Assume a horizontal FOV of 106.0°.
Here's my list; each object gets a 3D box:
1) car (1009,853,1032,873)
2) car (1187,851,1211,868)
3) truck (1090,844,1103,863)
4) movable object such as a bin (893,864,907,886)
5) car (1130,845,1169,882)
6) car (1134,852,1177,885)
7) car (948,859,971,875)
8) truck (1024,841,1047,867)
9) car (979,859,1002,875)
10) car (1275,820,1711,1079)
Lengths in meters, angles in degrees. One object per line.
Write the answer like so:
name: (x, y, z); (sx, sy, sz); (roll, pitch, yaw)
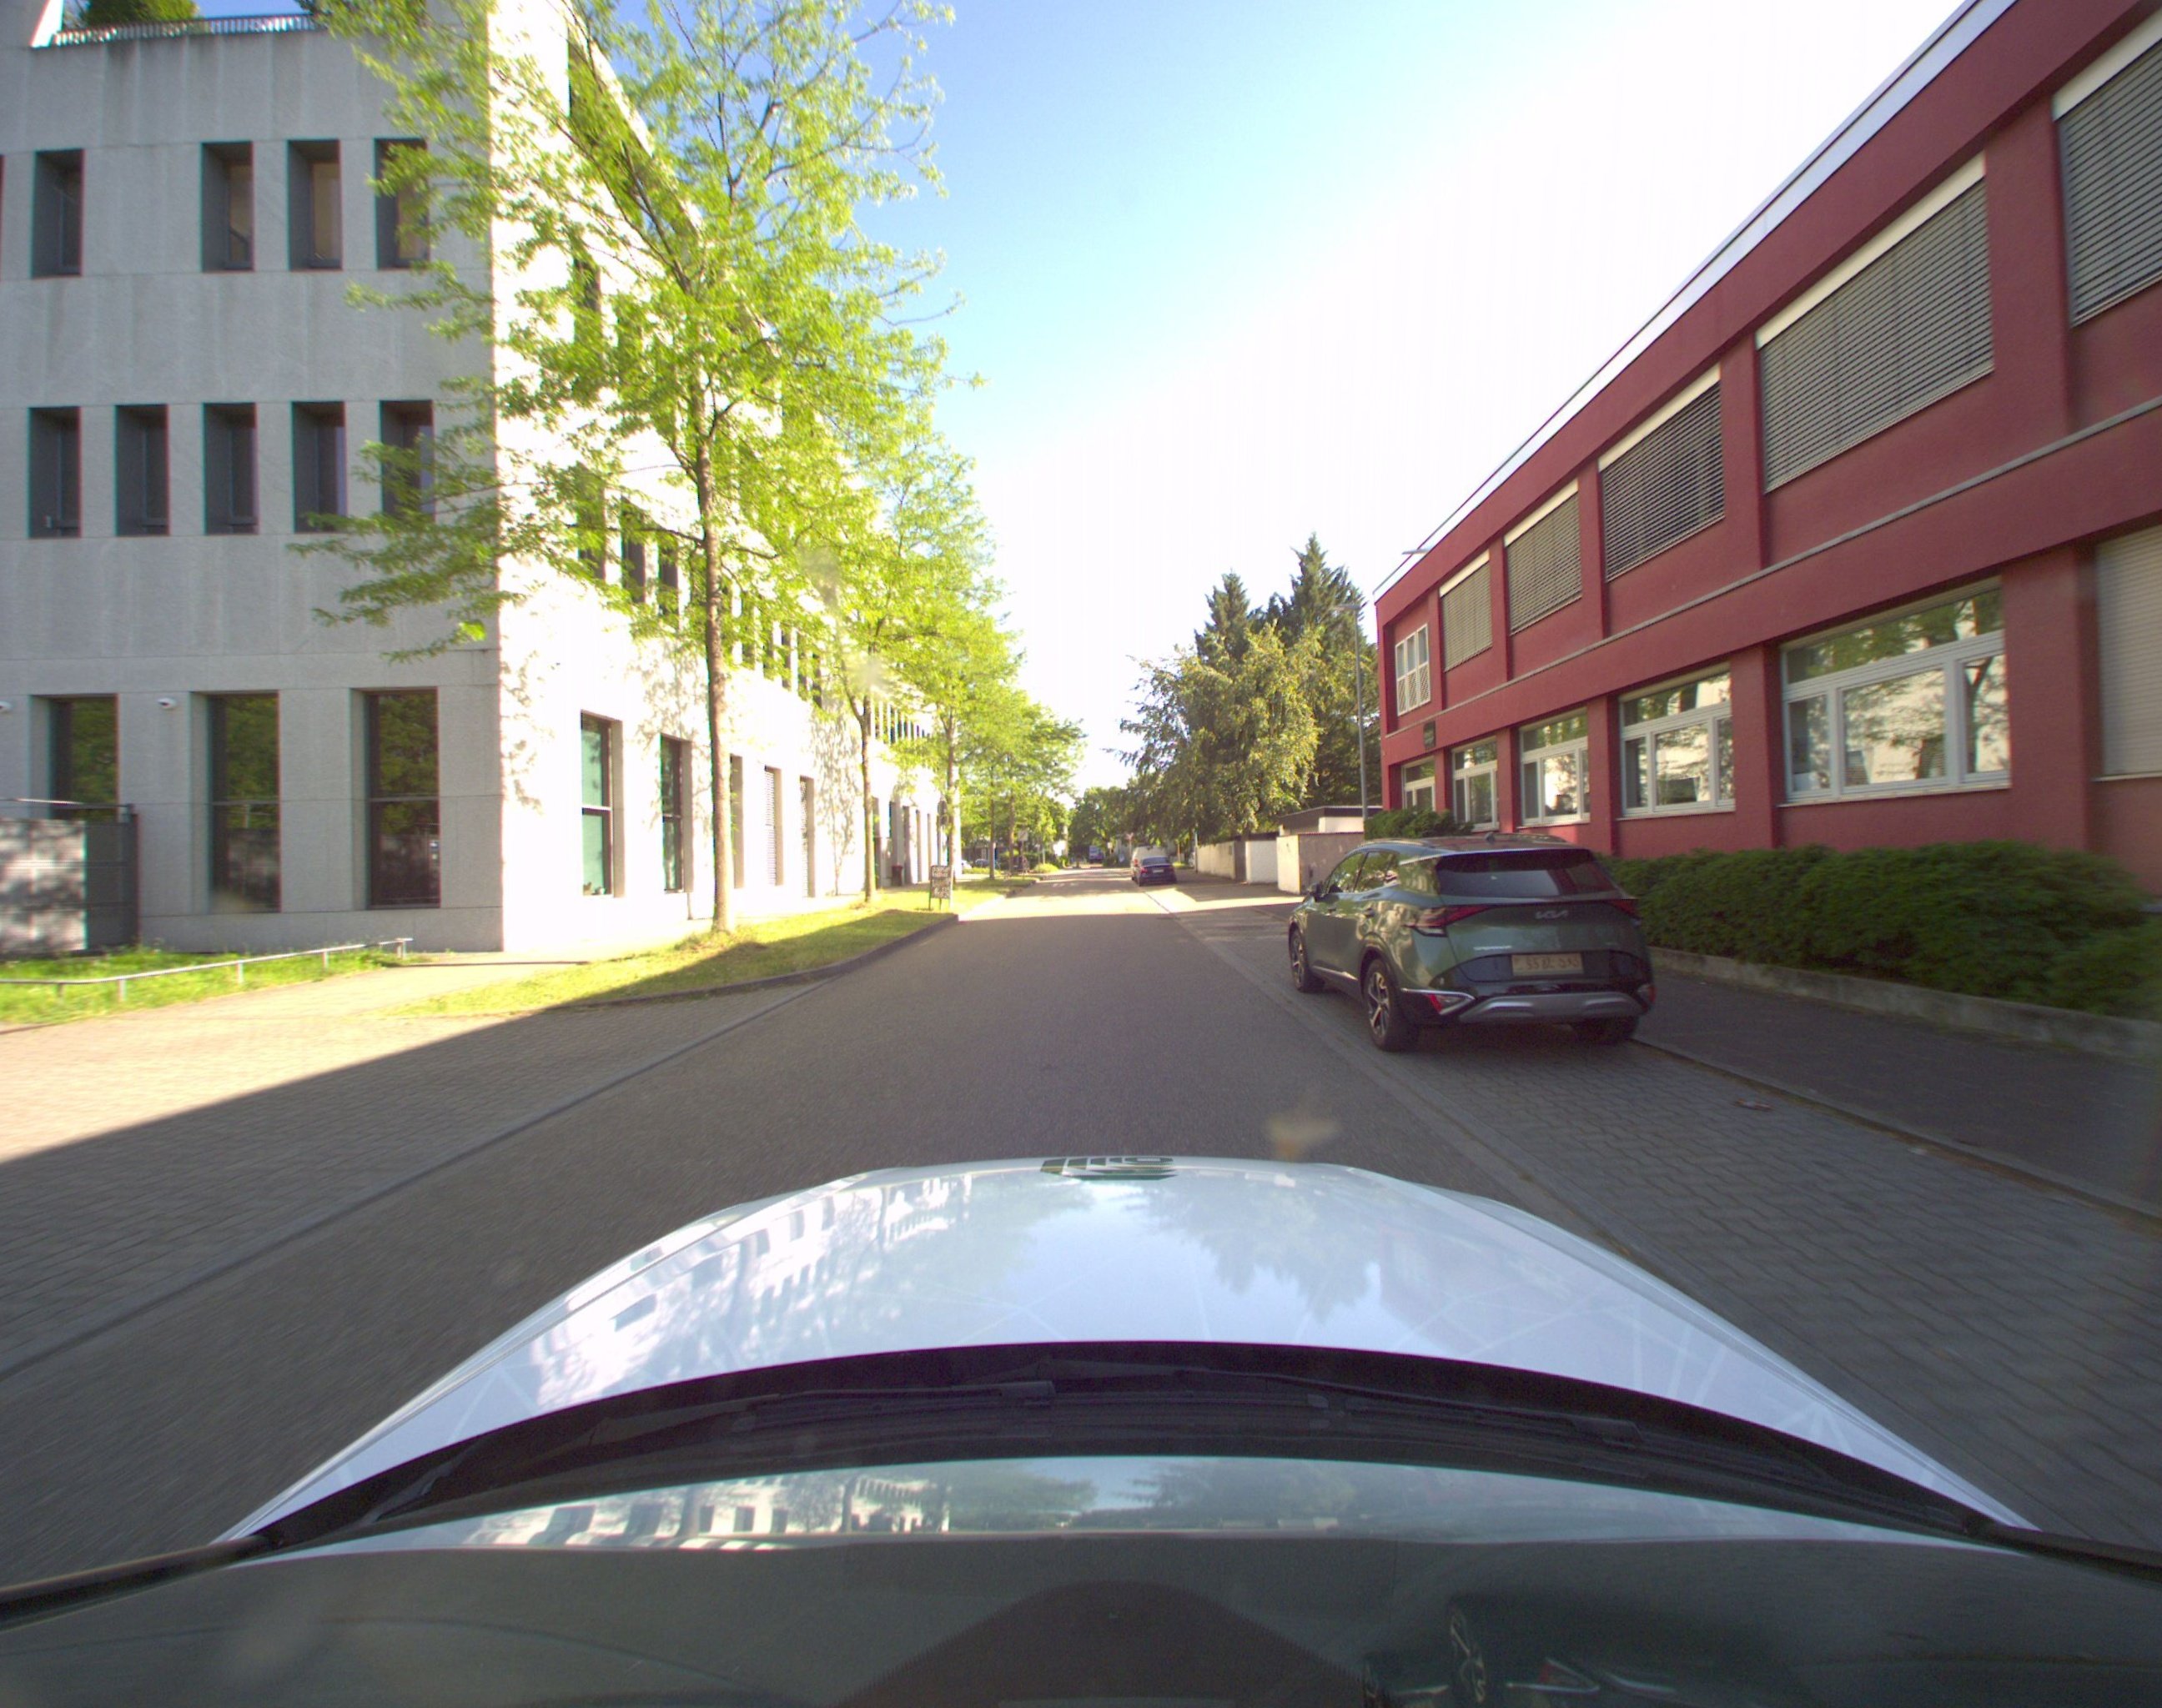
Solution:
car: (-6.138, 0.935, 82.507); (1.867, 1.846, 4.169); (-2, 1, 1)
car: (11.993, 0.524, 82.927); (1.818, 1.598, 4.167); (-2, 1, -1)
truck: (3.386, -0.115, 177.160); (2.750, 3.869, 9.332); (0, 0, 1)
movable object such as a bin: (-9.000, 1.044, 40.507); (0.591, 1.040, 0.543); (0, 0, -1)
car: (3.824, 0.496, 46.442); (1.891, 1.914, 5.150); (-2, 0, 2)
car: (3.601, 0.681, 40.160); (1.819, 1.423, 4.285); (-2, 0, 2)
car: (-12.281, 1.264, 82.438); (1.797, 1.436, 3.911); (-1, 1, -1)
truck: (-6.886, 0.044, 123.639); (2.791, 3.806, 6.929); (-1, 0, 3)
car: (-9.118, 1.335, 82.305); (1.818, 1.406, 4.167); (-2, 1, -1)
car: (3.233, 0.636, 7.555); (1.891, 1.630, 4.374); (-2, 0, 2)
